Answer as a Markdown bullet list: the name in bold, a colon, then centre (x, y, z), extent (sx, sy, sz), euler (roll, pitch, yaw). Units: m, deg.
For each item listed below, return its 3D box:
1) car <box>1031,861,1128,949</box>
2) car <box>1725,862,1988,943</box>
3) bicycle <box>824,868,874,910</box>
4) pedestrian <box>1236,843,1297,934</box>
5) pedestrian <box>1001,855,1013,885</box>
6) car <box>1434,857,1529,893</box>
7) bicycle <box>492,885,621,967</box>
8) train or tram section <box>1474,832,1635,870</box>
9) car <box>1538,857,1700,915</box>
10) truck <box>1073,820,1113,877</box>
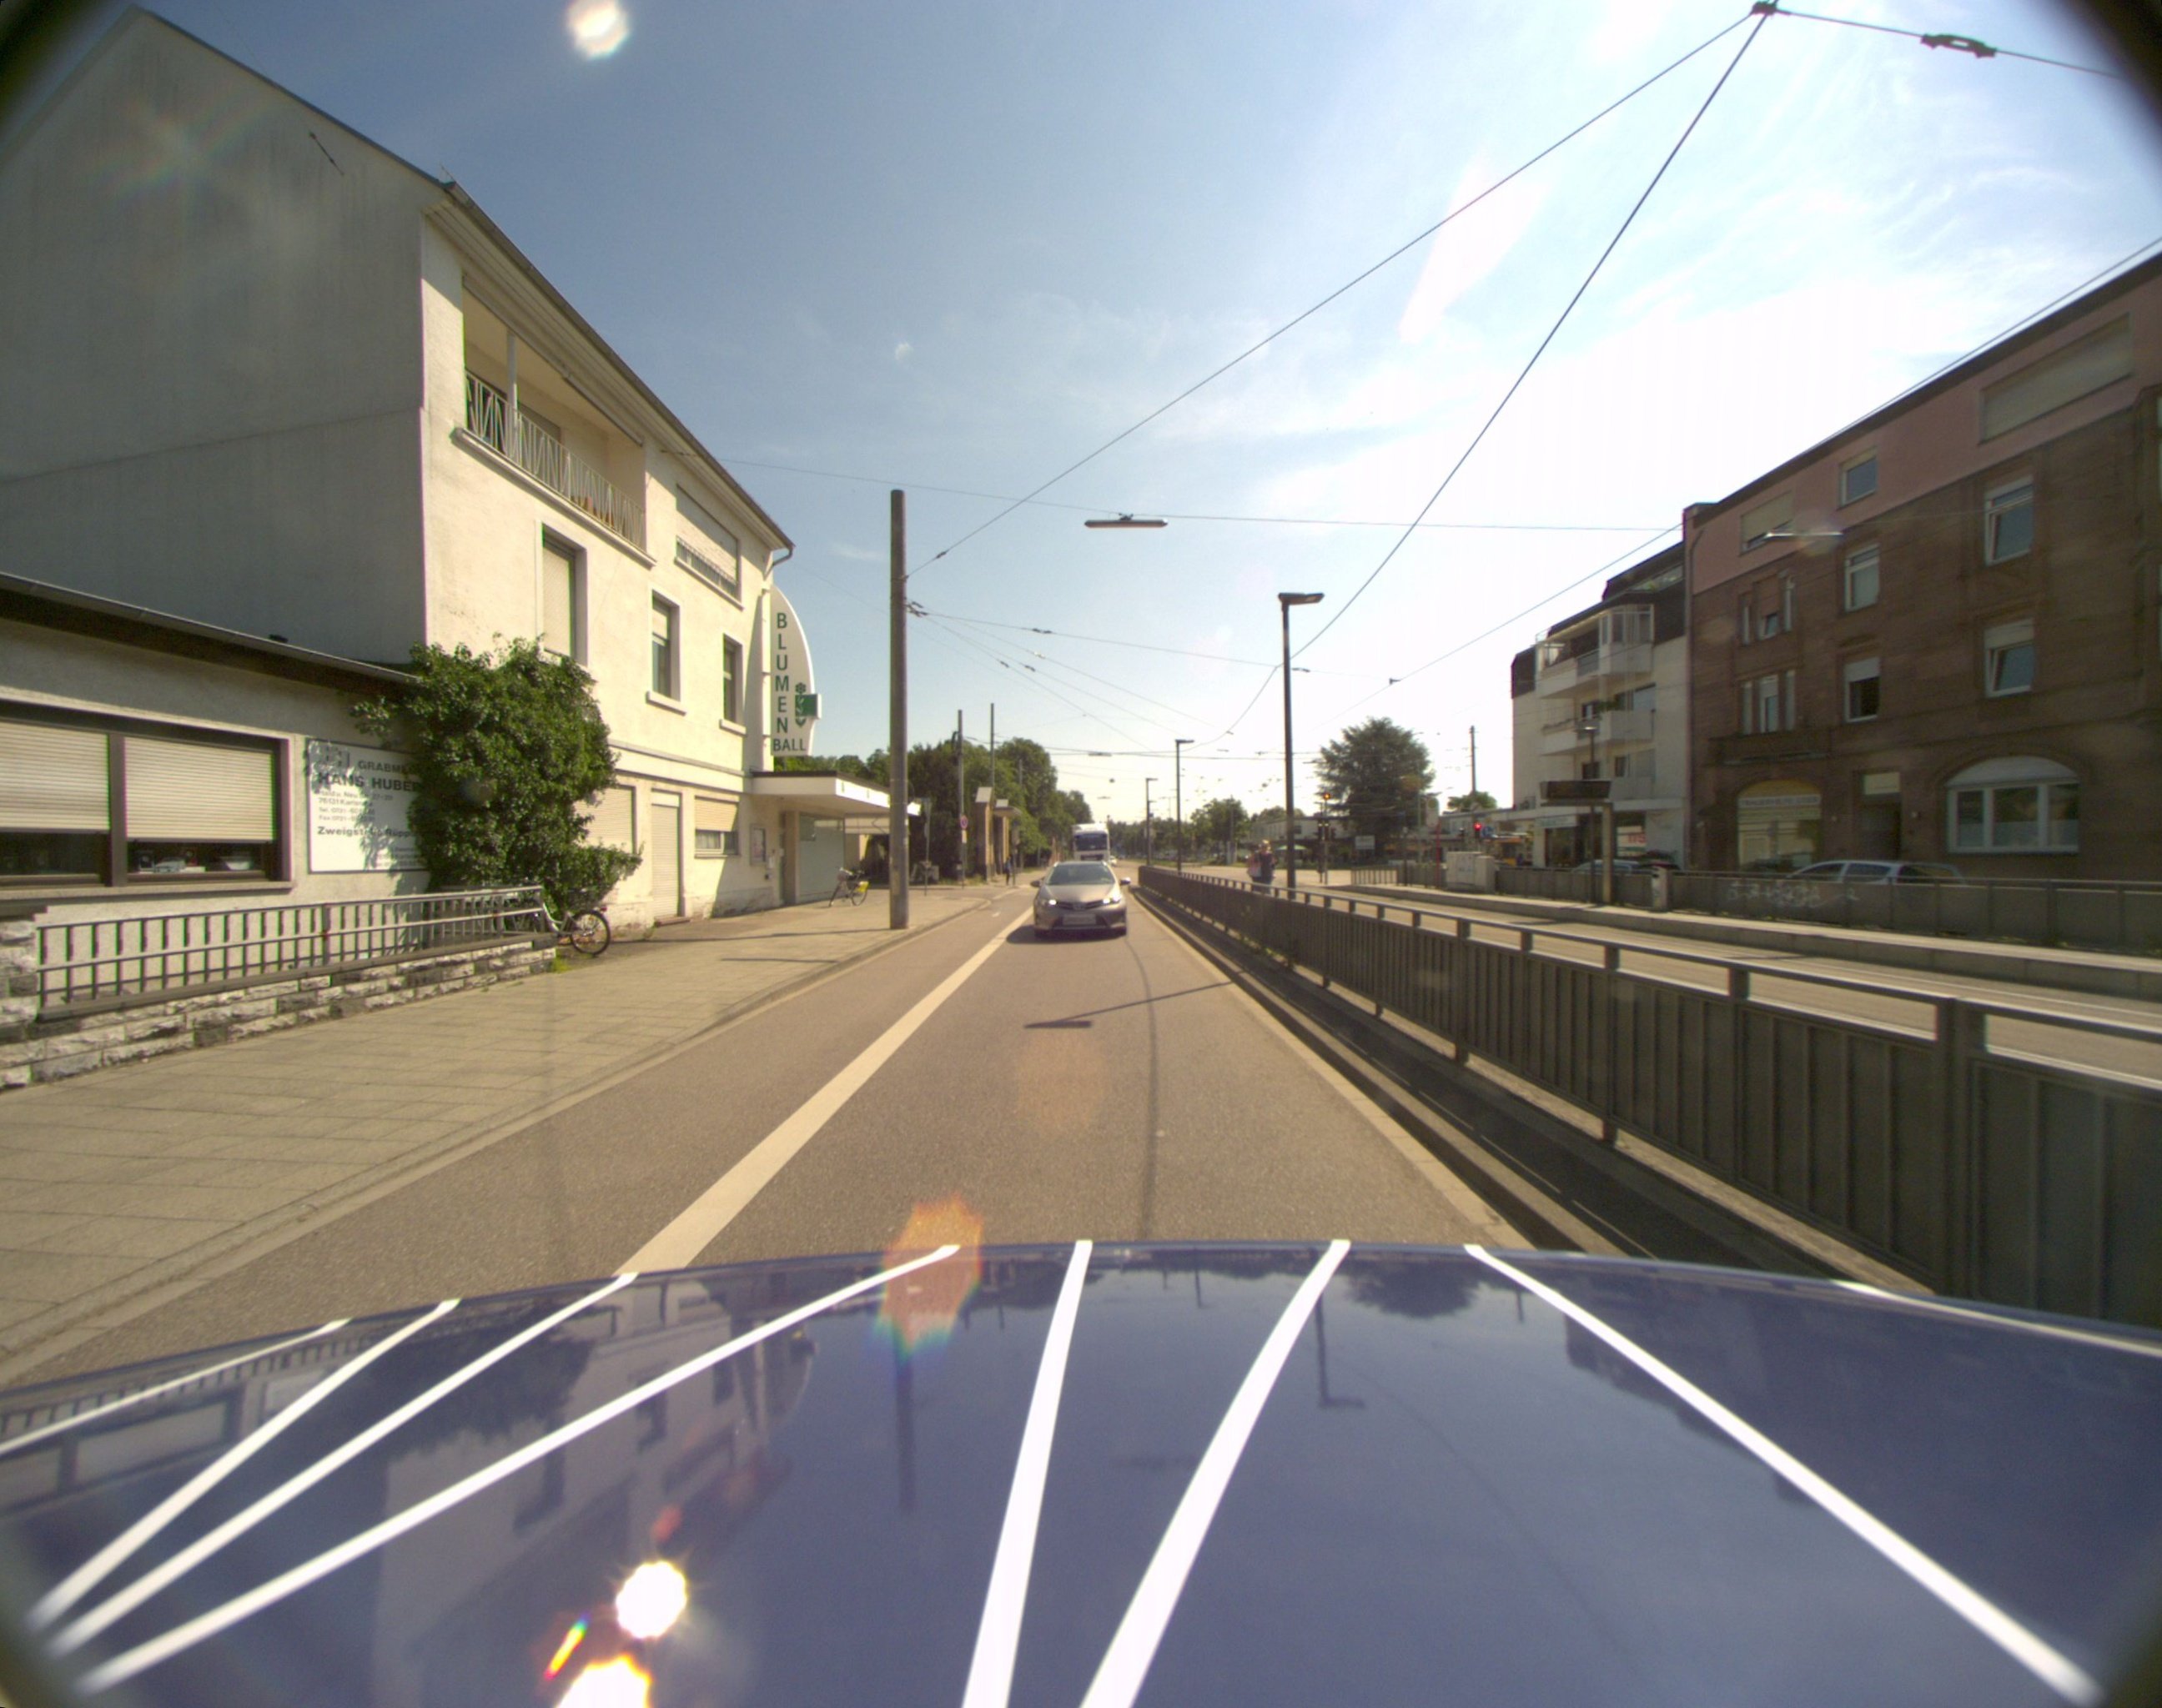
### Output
- **car**: centre (0.005, 0.925, 15.684), extent (1.695, 1.440, 4.481), euler (-1, 0, 1)
- **car**: centre (16.013, 0.919, 16.025), extent (1.630, 1.460, 3.865), euler (-1, 0, 1)
- **bicycle**: centre (-6.665, 0.979, 21.928), extent (0.511, 1.127, 1.693), euler (0, 1, 18)
- **pedestrian**: centre (3.863, 0.691, 15.942), extent (0.983, 1.848, 1.237), euler (0, 1, 1)
- **pedestrian**: centre (-4.003, 0.851, 41.345), extent (0.499, 1.617, 0.500), euler (2, 1, 8)
- **car**: centre (16.311, 0.820, 31.160), extent (1.716, 1.236, 4.078), euler (-2, 1, 0)
- **bicycle**: centre (-7.388, 1.005, 10.730), extent (1.530, 1.051, 0.398), euler (3, 1, 2)
- **train or tram section**: centre (44.574, -0.309, 71.827), extent (13.325, 3.460, 2.689), euler (0, 1, 3)
- **car**: centre (16.099, 0.890, 23.085), extent (1.716, 1.507, 4.473), euler (-2, 0, 0)
- **truck**: centre (0.837, -0.394, 54.199), extent (2.657, 3.772, 7.863), euler (0, 0, 1)
